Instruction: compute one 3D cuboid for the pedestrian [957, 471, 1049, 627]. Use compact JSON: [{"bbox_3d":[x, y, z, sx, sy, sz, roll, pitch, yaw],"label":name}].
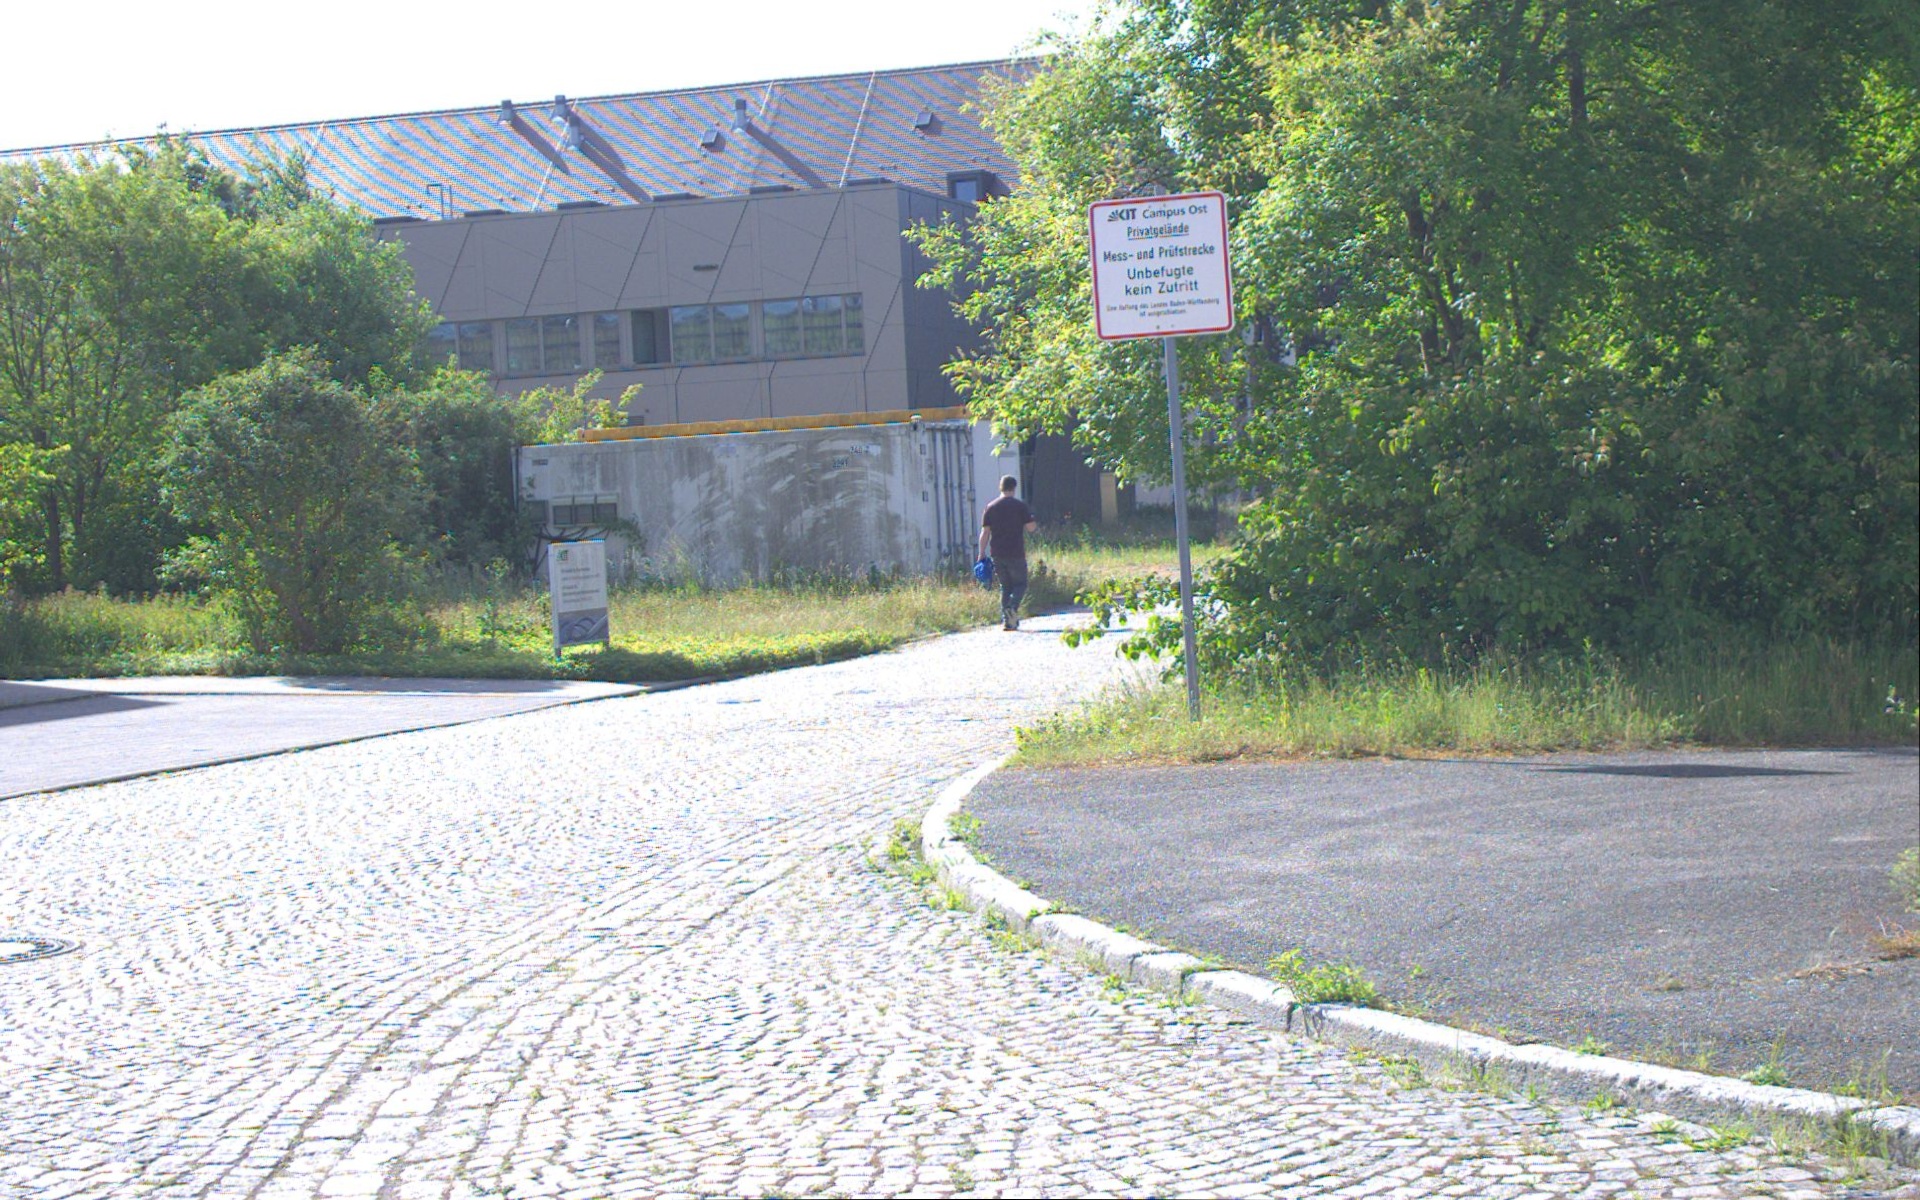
[{"bbox_3d":[0.511,-0.607,40.128,0.795,1.774,1.068,-1,2,14],"label":"pedestrian"}]
